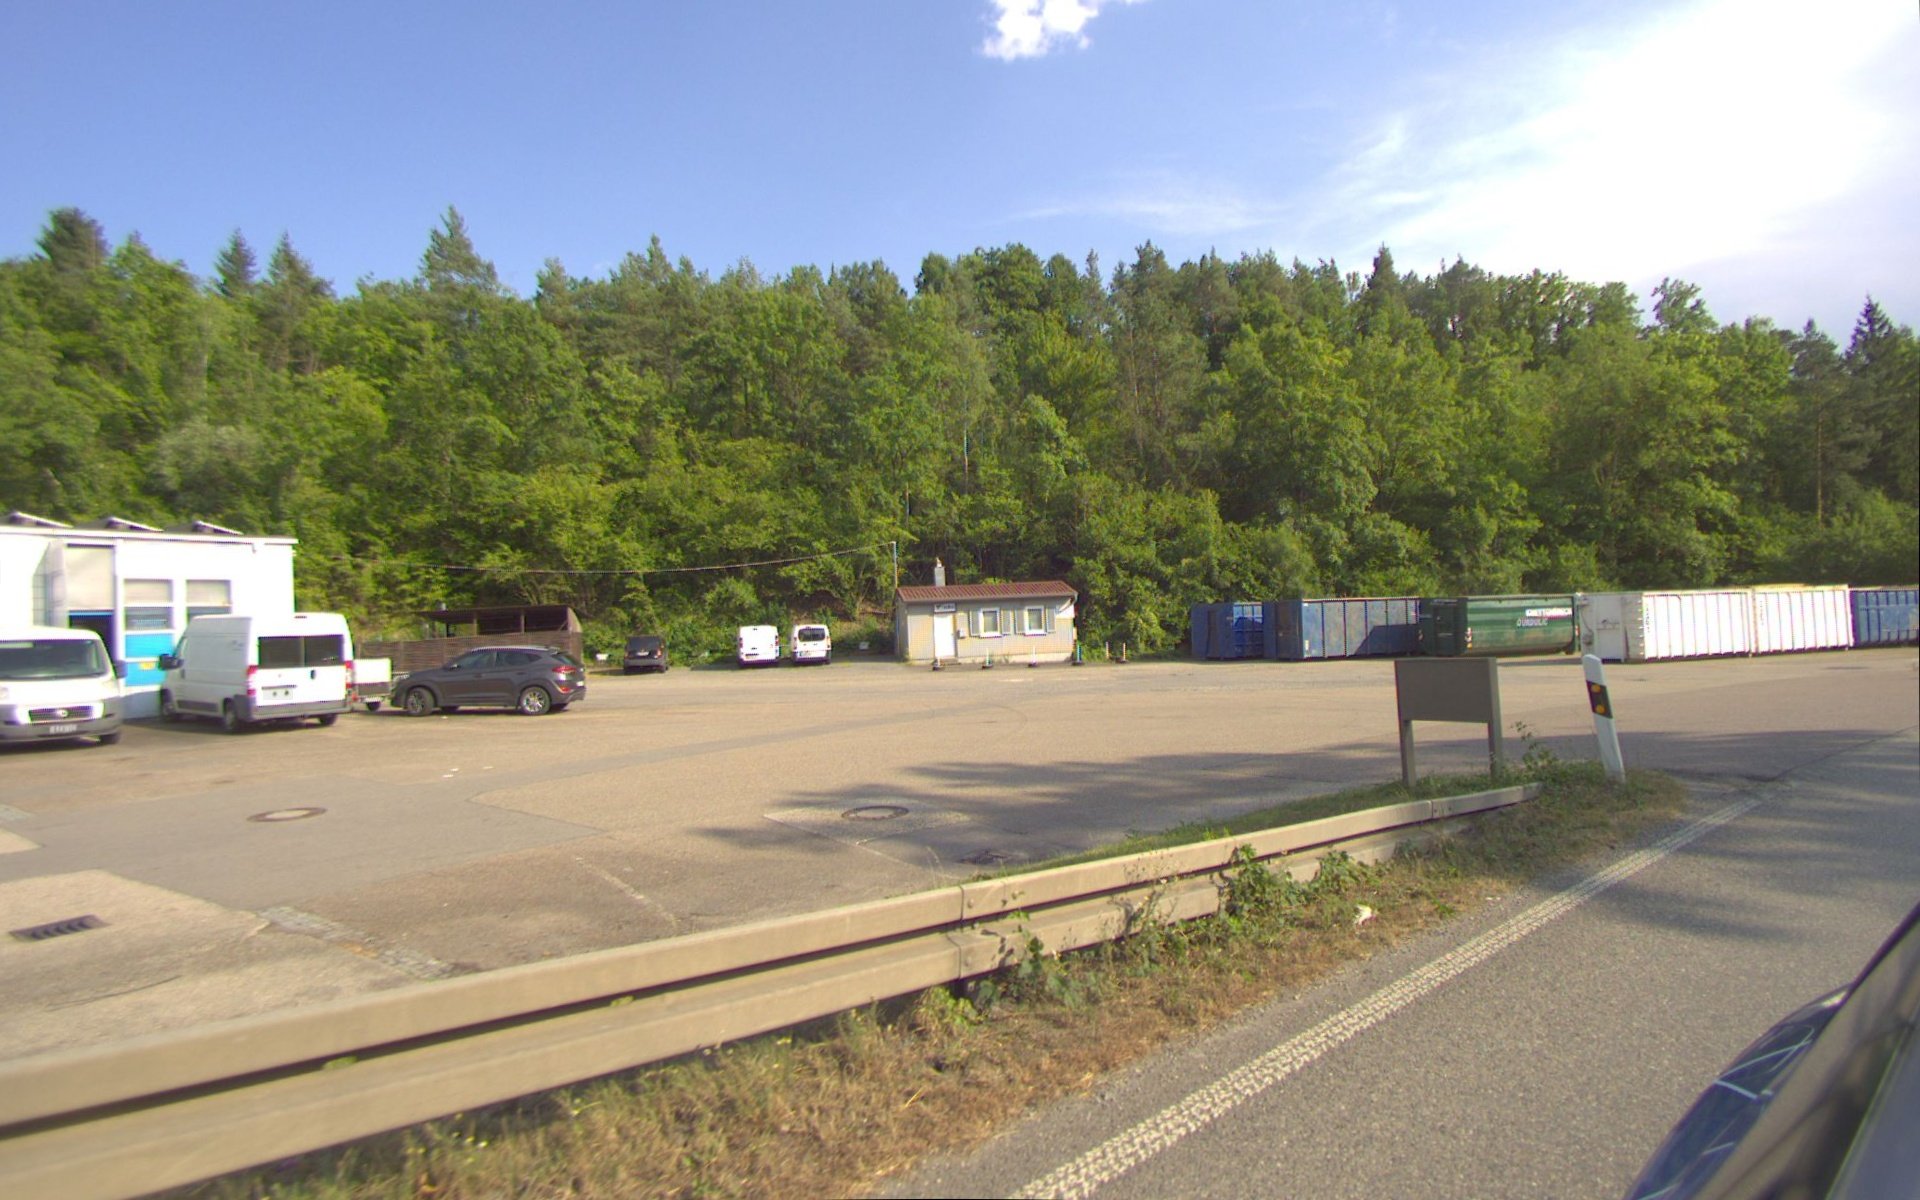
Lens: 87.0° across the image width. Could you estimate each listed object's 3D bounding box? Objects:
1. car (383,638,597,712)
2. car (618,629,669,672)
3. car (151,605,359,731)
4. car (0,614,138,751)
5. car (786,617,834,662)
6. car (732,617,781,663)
[{"bbox_3d":[-11.347,1.785,24.701,4.317,1.691,1.944,0,-2,-5],"label":"car"},{"bbox_3d":[-14.679,2.304,47.117,1.955,1.695,4.565,-1,0,-14],"label":"car"},{"bbox_3d":[-15.573,1.377,22.285,4.889,2.480,2.181,-1,-1,34],"label":"car"},{"bbox_3d":[-18.144,1.460,19.501,5.457,2.303,2.266,-1,-1,36],"label":"car"},{"bbox_3d":[-7.302,1.880,48.996,1.958,2.040,4.566,-1,-1,-12],"label":"car"},{"bbox_3d":[-9.780,1.911,48.464,1.958,2.040,4.104,-1,-2,-15],"label":"car"}]
